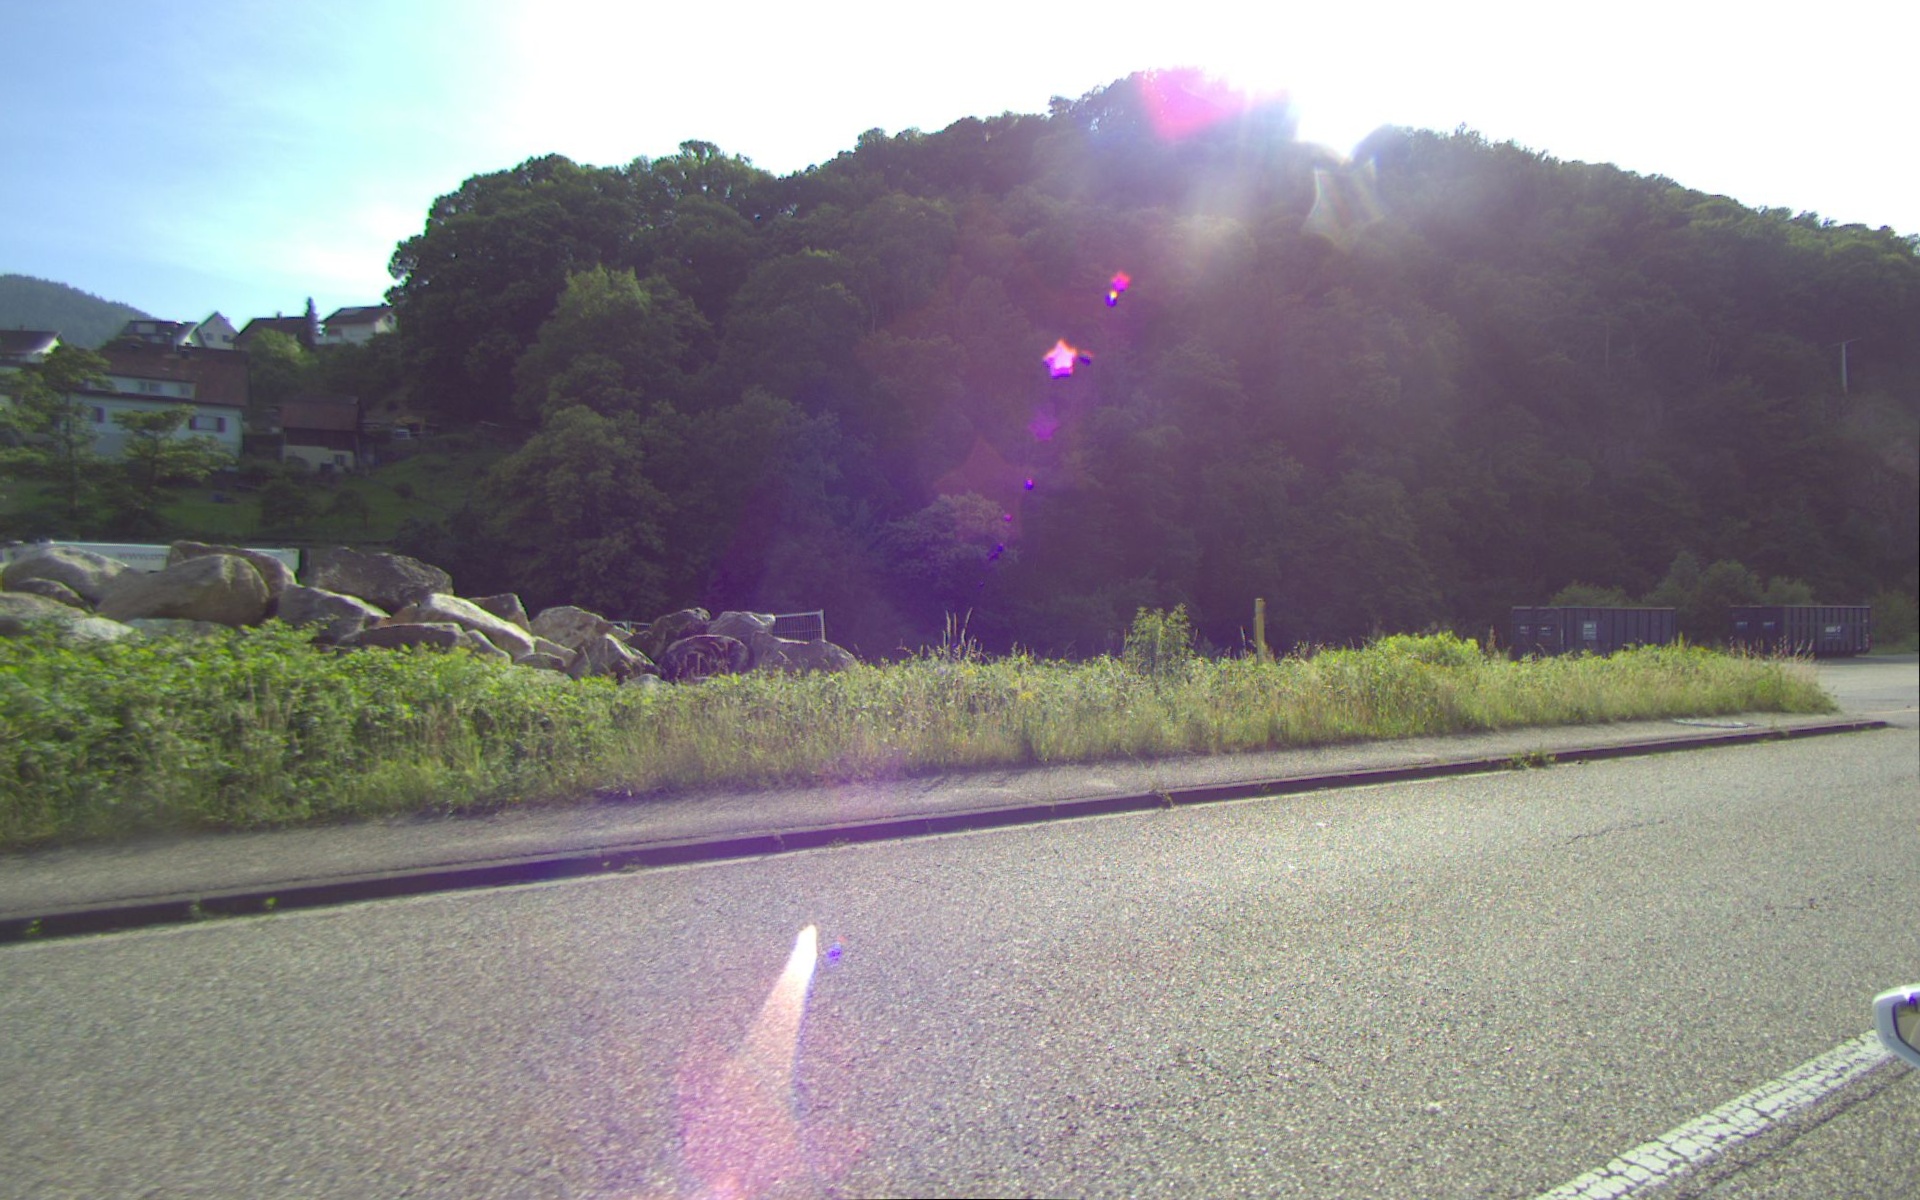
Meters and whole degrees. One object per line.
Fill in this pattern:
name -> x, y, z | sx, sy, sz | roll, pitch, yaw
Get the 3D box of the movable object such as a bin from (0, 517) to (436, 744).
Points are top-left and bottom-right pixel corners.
movable object such as a bin -> -15.365, 0.670, 20.707 | 7.736, 3.998, 2.878 | 1, -4, -37
